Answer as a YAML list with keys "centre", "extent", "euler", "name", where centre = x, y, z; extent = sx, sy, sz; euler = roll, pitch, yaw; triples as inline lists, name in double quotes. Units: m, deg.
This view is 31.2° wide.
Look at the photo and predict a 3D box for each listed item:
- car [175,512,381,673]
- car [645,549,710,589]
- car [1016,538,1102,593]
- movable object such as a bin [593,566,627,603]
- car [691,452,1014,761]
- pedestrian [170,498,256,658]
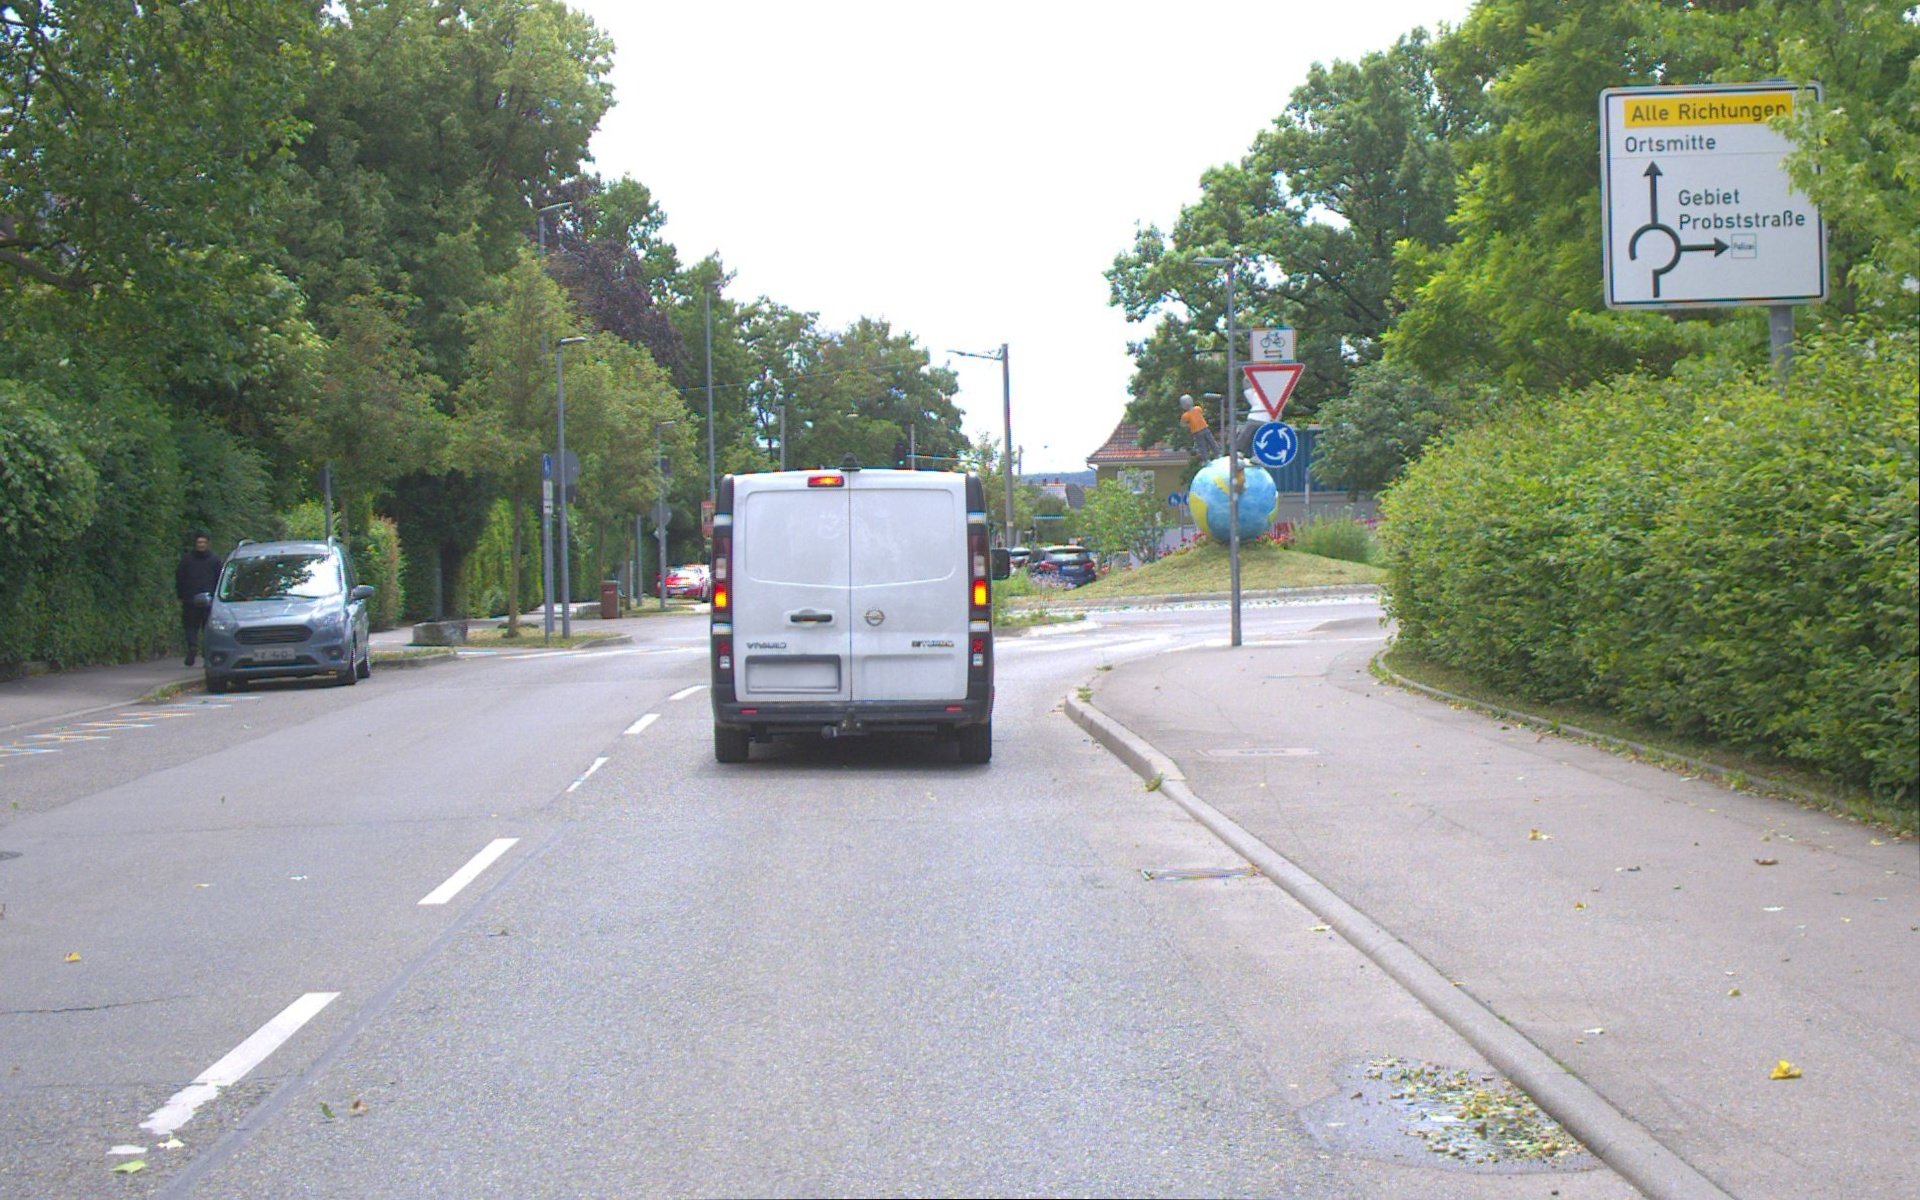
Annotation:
- centre: [-8.039, -0.137, 40.868]
  extent: [2.131, 1.766, 4.466]
  euler: [0, 2, -8]
  name: "car"
- centre: [-10.737, -1.184, 130.443]
  extent: [2.062, 1.381, 4.049]
  euler: [-1, 2, -10]
  name: "car"
- centre: [2.985, -1.069, 104.211]
  extent: [1.932, 1.532, 3.926]
  euler: [-1, 2, -9]
  name: "car"
- centre: [-8.481, -0.384, 83.243]
  extent: [0.630, 0.860, 0.640]
  euler: [-2, 1, 10]
  name: "movable object such as a bin"
- centre: [-0.693, -0.027, 24.371]
  extent: [2.034, 1.938, 4.994]
  euler: [1, 2, 0]
  name: "car"
- centre: [-9.624, -0.293, 44.336]
  extent: [0.871, 2.007, 1.041]
  euler: [-2, 1, -5]
  name: "pedestrian"
